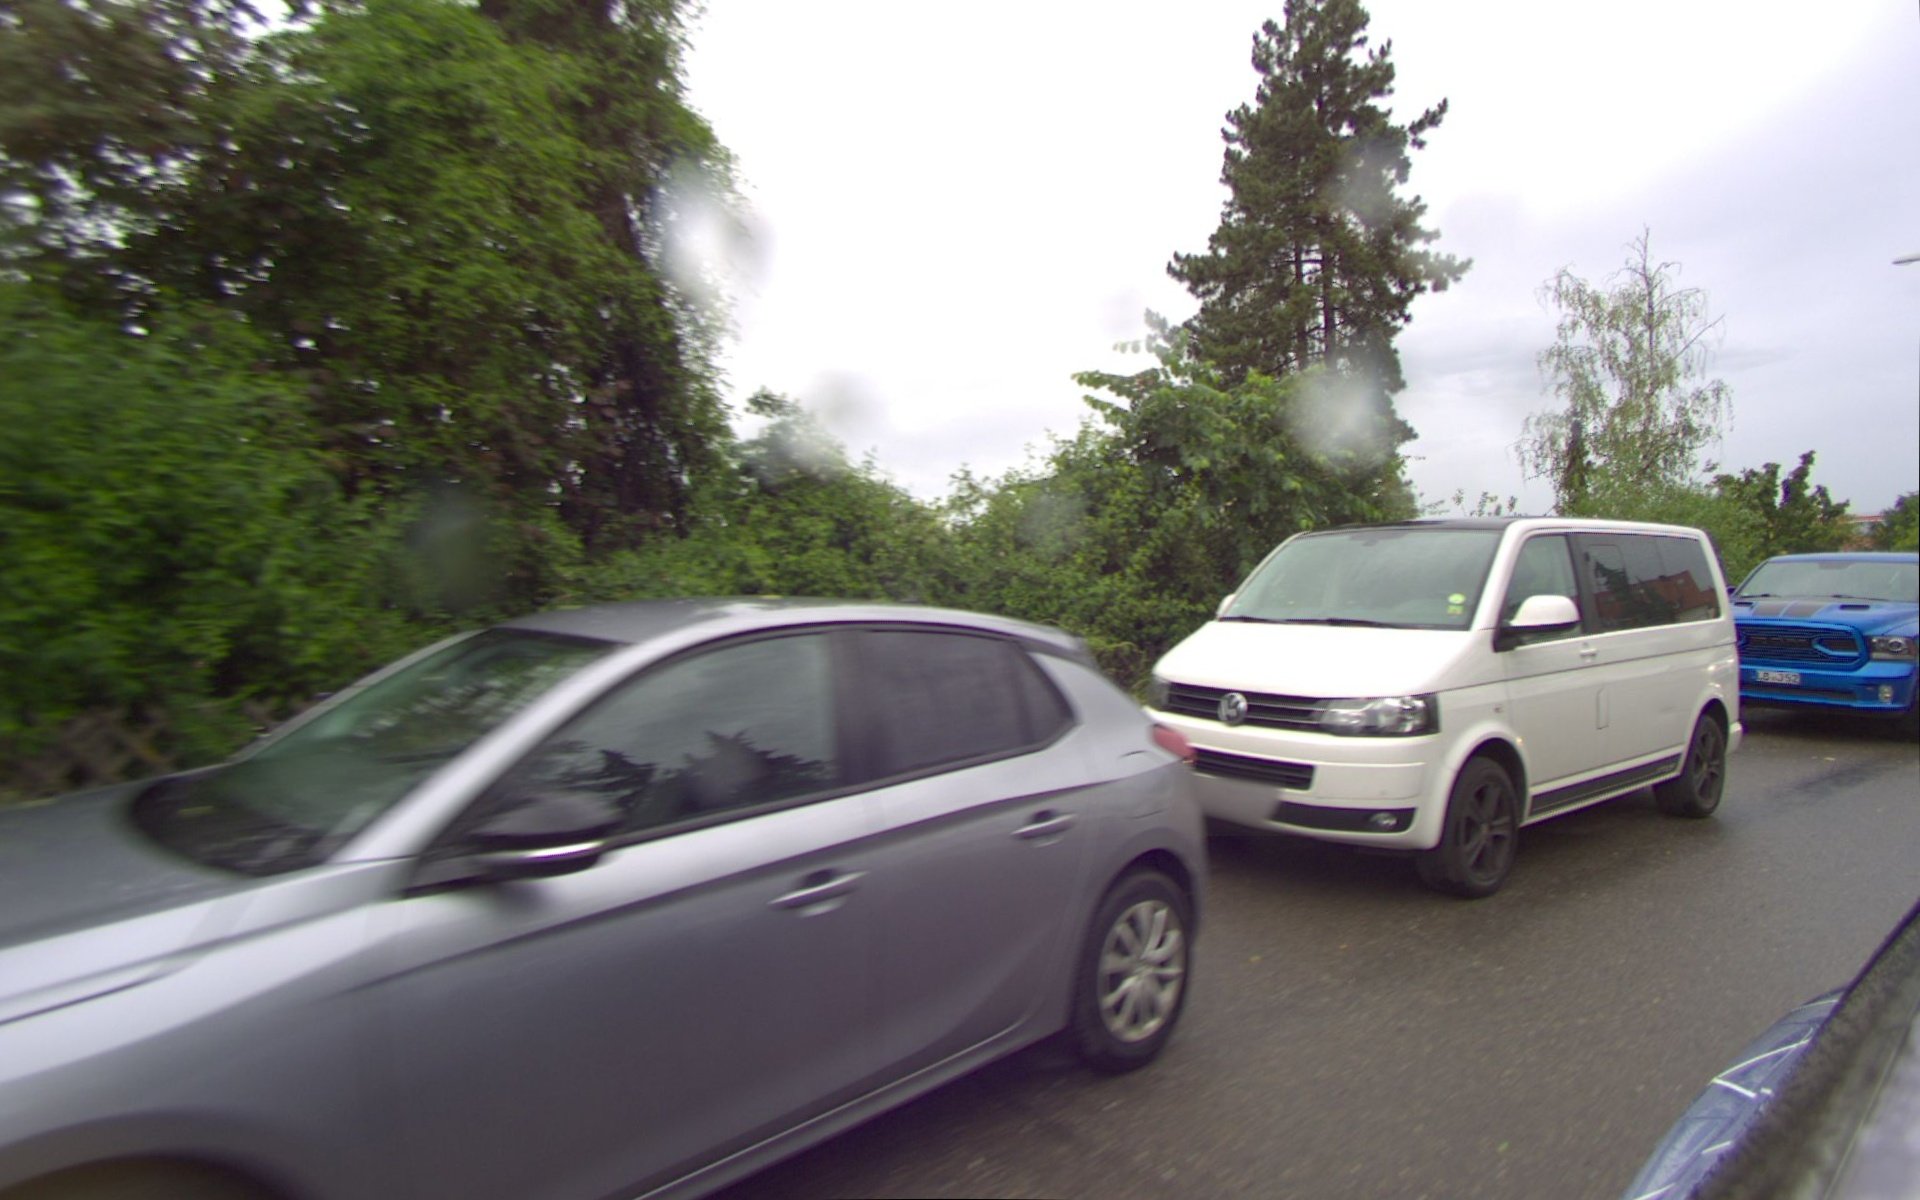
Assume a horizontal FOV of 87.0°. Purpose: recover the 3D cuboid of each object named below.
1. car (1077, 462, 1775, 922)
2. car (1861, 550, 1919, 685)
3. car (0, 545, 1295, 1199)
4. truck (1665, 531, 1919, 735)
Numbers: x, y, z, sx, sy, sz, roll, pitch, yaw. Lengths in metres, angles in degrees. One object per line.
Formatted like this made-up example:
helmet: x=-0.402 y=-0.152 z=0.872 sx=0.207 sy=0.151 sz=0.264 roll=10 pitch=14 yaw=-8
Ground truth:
car: x=3.233 y=0.378 z=6.501 sx=4.983 sy=1.945 sz=1.866 roll=0 pitch=0 yaw=-36
car: x=15.575 y=0.230 z=15.221 sx=5.169 sy=1.865 sz=1.834 roll=0 pitch=2 yaw=-35
car: x=-0.850 y=0.663 z=2.855 sx=3.988 sy=1.475 sz=1.687 roll=0 pitch=0 yaw=-43
truck: x=10.875 y=0.303 z=11.969 sx=6.494 sy=1.876 sz=2.120 roll=0 pitch=-1 yaw=-36
